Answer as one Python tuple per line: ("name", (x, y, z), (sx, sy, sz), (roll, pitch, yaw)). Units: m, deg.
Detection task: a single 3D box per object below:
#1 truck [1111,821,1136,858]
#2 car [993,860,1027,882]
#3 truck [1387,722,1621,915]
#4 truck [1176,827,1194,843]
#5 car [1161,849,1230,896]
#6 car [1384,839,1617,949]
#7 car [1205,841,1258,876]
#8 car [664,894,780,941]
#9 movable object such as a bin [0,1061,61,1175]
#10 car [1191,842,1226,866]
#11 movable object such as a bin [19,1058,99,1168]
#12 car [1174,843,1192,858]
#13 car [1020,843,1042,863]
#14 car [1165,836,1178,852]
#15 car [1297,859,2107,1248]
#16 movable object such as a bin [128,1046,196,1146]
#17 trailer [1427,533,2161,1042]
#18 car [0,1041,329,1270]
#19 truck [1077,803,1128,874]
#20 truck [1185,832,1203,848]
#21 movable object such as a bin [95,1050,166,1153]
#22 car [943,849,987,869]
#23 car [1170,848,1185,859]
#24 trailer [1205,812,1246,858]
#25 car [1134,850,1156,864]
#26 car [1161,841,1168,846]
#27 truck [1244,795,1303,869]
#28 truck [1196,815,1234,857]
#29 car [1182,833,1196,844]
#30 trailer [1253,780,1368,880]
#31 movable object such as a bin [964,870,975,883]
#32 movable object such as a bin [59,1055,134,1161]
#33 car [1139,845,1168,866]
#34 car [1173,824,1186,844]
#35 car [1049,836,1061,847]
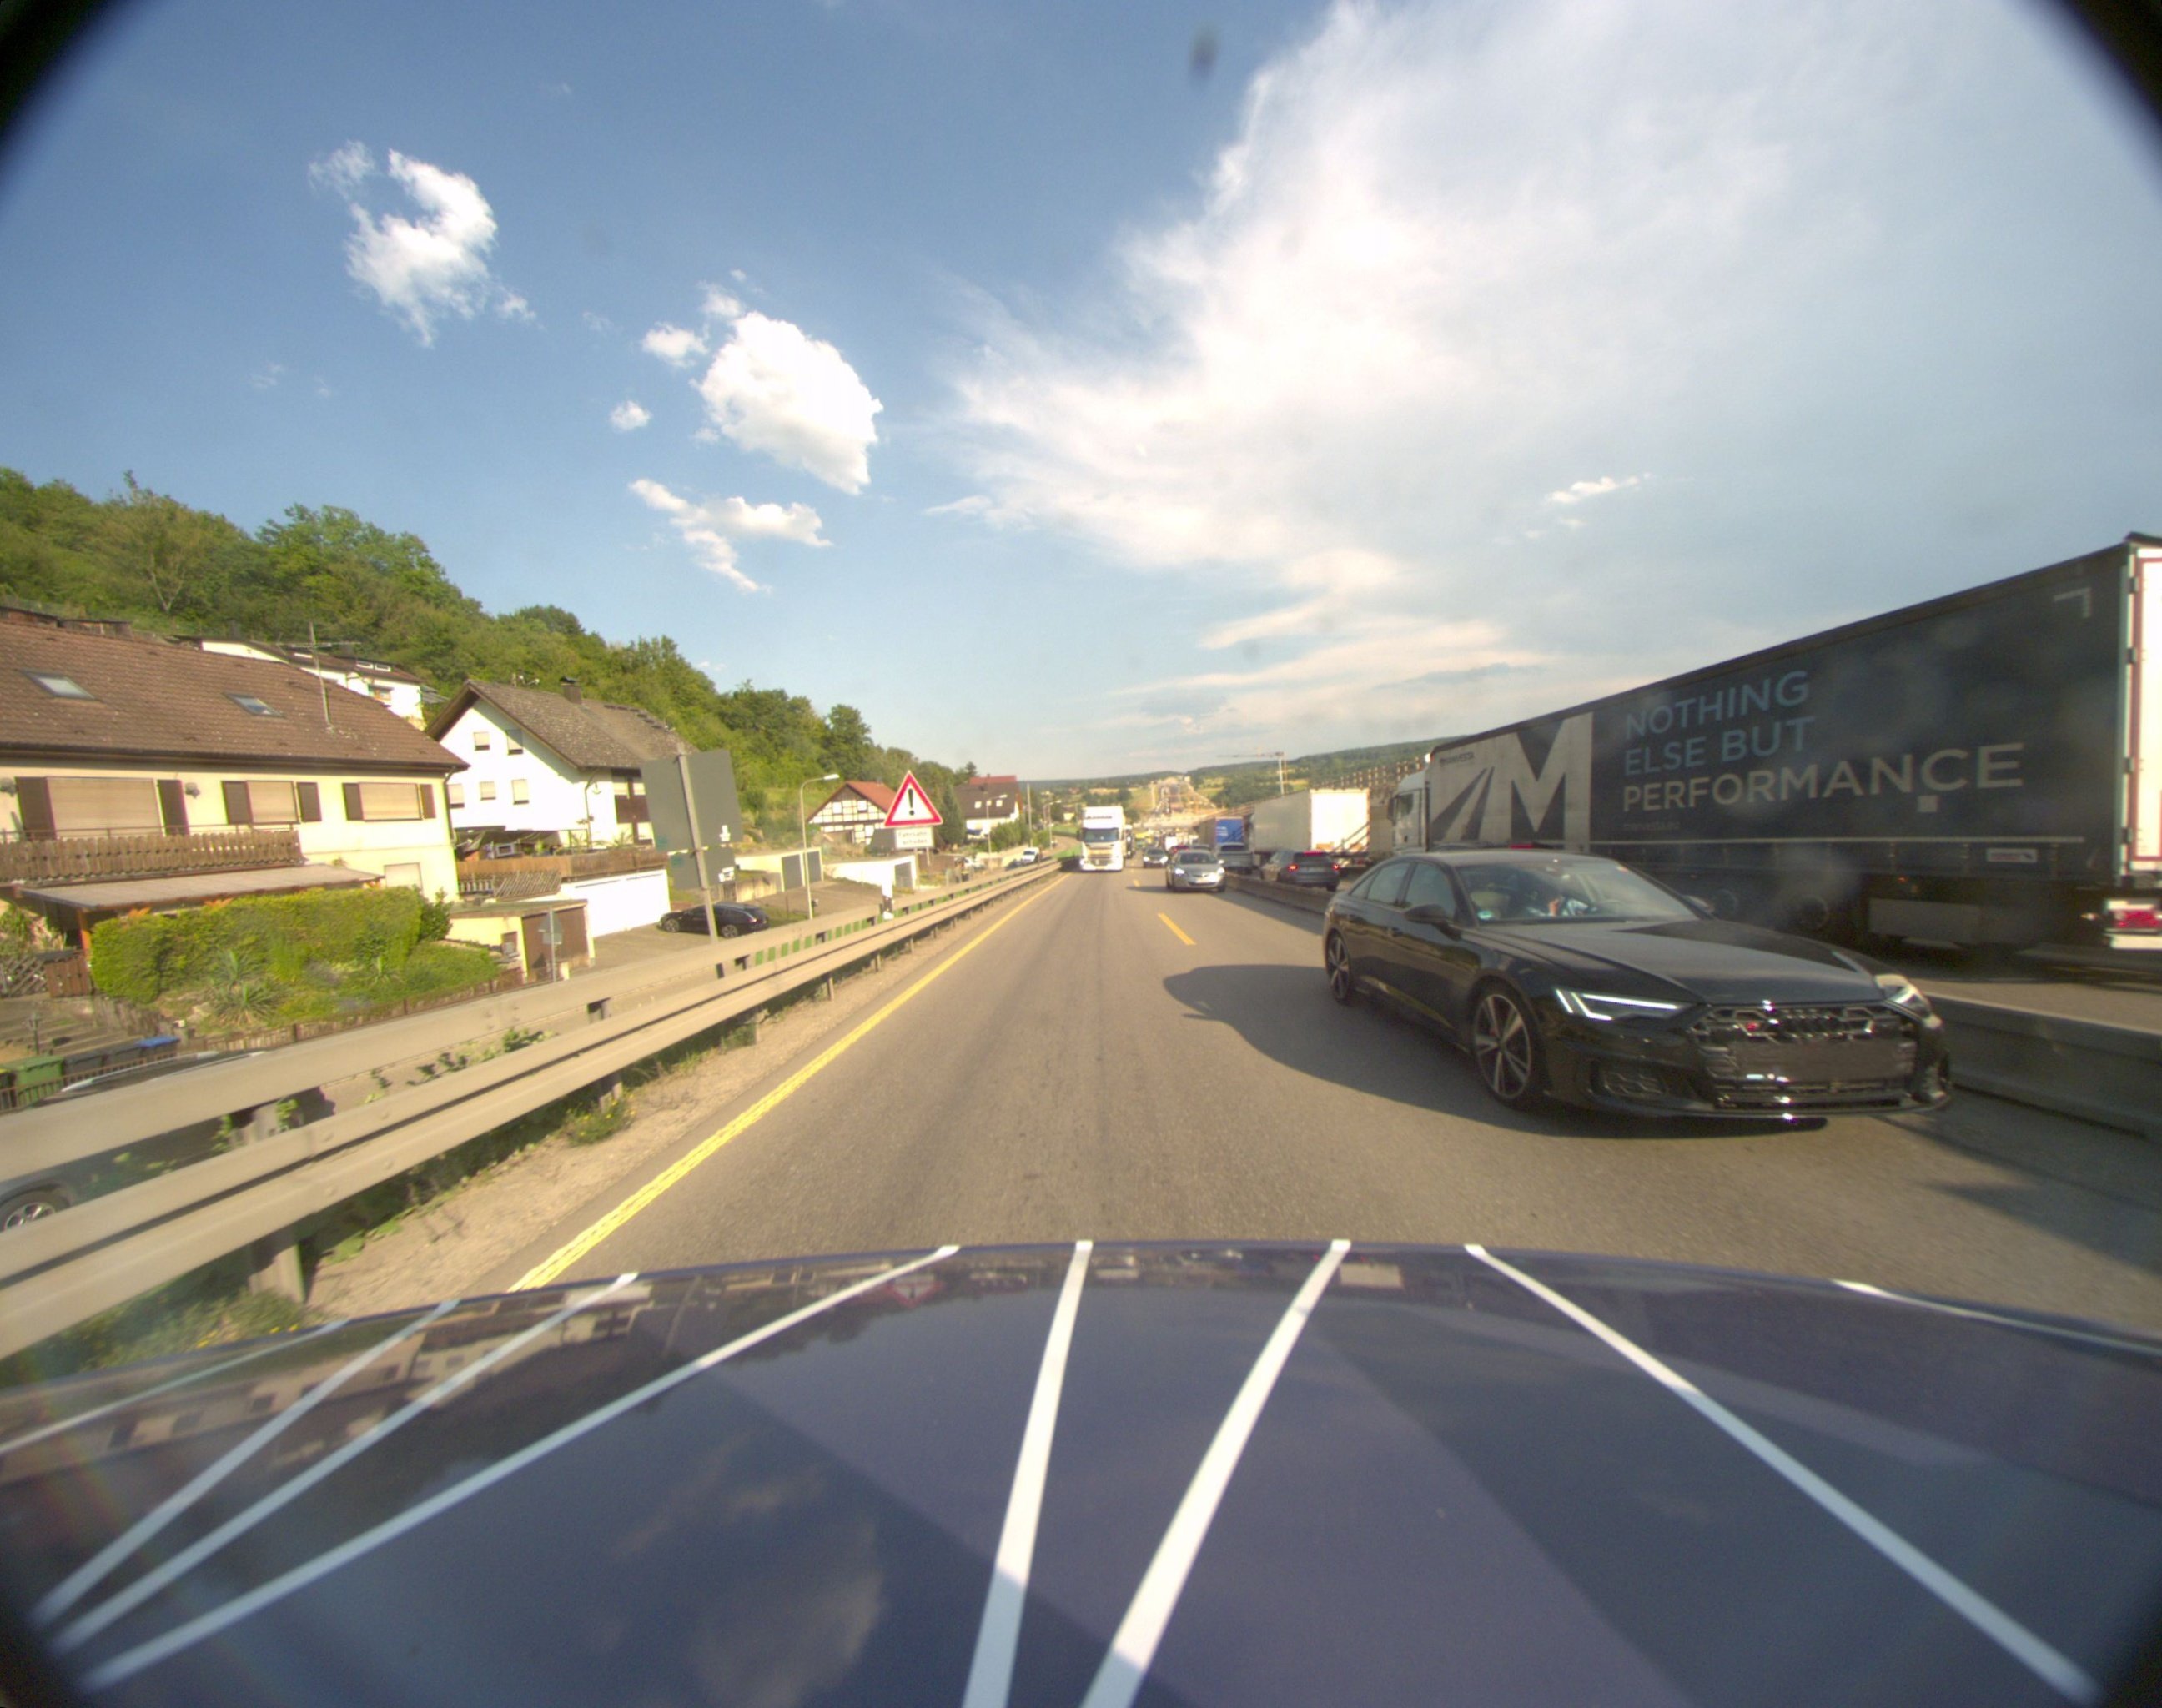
("truck", (5.402, -1.760, 97.316), (2.788, 4.505, 7.191), (-3, 0, 3))
("car", (-6.293, 1.561, 67.931), (1.771, 1.587, 3.623), (-9, -5, 12))
("truck", (10.514, -0.828, 19.741), (2.771, 4.179, 6.114), (-1, 1, 1))
("truck", (21.644, -3.998, 158.060), (3.242, 3.128, 6.490), (-1, 1, 3))
("car", (3.988, 0.600, 26.974), (1.810, 1.478, 4.117), (0, 1, 0))
("car", (7.235, 0.565, 13.720), (1.771, 1.542, 4.478), (-2, 2, 1))
("car", (8.097, 0.190, 41.309), (2.013, 1.645, 4.973), (-3, 1, 2))
("car", (-16.687, 2.927, 35.411), (4.501, 1.517, 2.000), (5, 4, 8))
("movable object such as a bin", (-18.002, 4.464, 12.884), (0.530, 1.760, 0.416), (-11, 2, 12))
("car", (9.608, -0.007, 57.570), (1.885, 1.598, 4.730), (-3, 1, 2))
("movable object such as a bin", (-17.891, 4.523, 13.306), (0.536, 1.760, 0.409), (-11, 2, 12))
("car", (10.975, -0.417, 82.099), (1.703, 1.567, 4.370), (-1, 1, 4))
("car", (-5.646, -0.135, 86.153), (1.824, 1.931, 4.283), (-3, 3, 3))
("car", (14.903, -1.623, 125.324), (2.000, 2.601, 5.614), (0, 1, 4))
("car", (3.255, 0.836, 5.714), (1.945, 1.472, 5.222), (0, 1, 2))
("movable object such as a bin", (-17.601, 4.634, 14.560), (0.490, 1.760, 0.414), (-11, 2, 12))
("trailer", (10.345, -0.689, 13.133), (2.782, 4.179, 13.831), (-1, 1, 2))
("car", (-14.392, 4.304, 11.121), (1.866, 1.775, 4.498), (-1, 3, 8))
("truck", (1.580, -1.042, 51.036), (2.892, 4.059, 13.893), (-1, 1, 3))
("truck", (18.123, -2.236, 121.859), (2.279, 2.288, 6.065), (-4, 1, 5))
("movable object such as a bin", (-17.684, 4.596, 14.140), (0.490, 1.760, 0.414), (-11, 2, 12))
("car", (-11.580, 0.528, 75.919), (3.995, 1.829, 1.750), (1, 3, 5))
("car", (12.886, -0.084, 101.689), (1.746, 1.432, 4.592), (-3, 1, 5))
("trailer", (13.628, -1.748, 72.157), (2.822, 4.082, 8.287), (-1, 1, 4))
("car", (7.522, 0.328, 90.246), (1.999, 1.565, 3.997), (-1, 1, -4))
("car", (25.085, -3.281, 227.930), (1.712, 1.312, 3.665), (-4, 1, 5))
("truck", (11.842, -1.327, 47.174), (2.461, 4.291, 5.473), (-1, 1, 3))
("truck", (14.285, -1.932, 81.573), (2.822, 4.234, 10.581), (-1, 1, 4))
("car", (20.440, -2.957, 143.929), (2.214, 2.011, 3.974), (-4, 1, 5))
("trailer", (11.463, -1.182, 39.708), (2.461, 4.295, 13.775), (-1, 1, 3))
("movable object such as a bin", (-9.197, 1.819, 62.565), (0.723, 0.995, 0.677), (-3, 2, 4))
("movable object such as a bin", (-17.786, 4.583, 13.736), (0.490, 1.760, 0.414), (-11, 2, 12))
("car", (5.183, 0.085, 54.586), (1.823, 1.433, 4.000), (-3, 0, 2))
("car", (28.585, -5.770, 220.208), (3.326, 5.356, 14.302), (-1, 1, 6))
("car", (-4.676, -2.323, 138.606), (1.998, 2.002, 3.999), (-1, 1, 1))
